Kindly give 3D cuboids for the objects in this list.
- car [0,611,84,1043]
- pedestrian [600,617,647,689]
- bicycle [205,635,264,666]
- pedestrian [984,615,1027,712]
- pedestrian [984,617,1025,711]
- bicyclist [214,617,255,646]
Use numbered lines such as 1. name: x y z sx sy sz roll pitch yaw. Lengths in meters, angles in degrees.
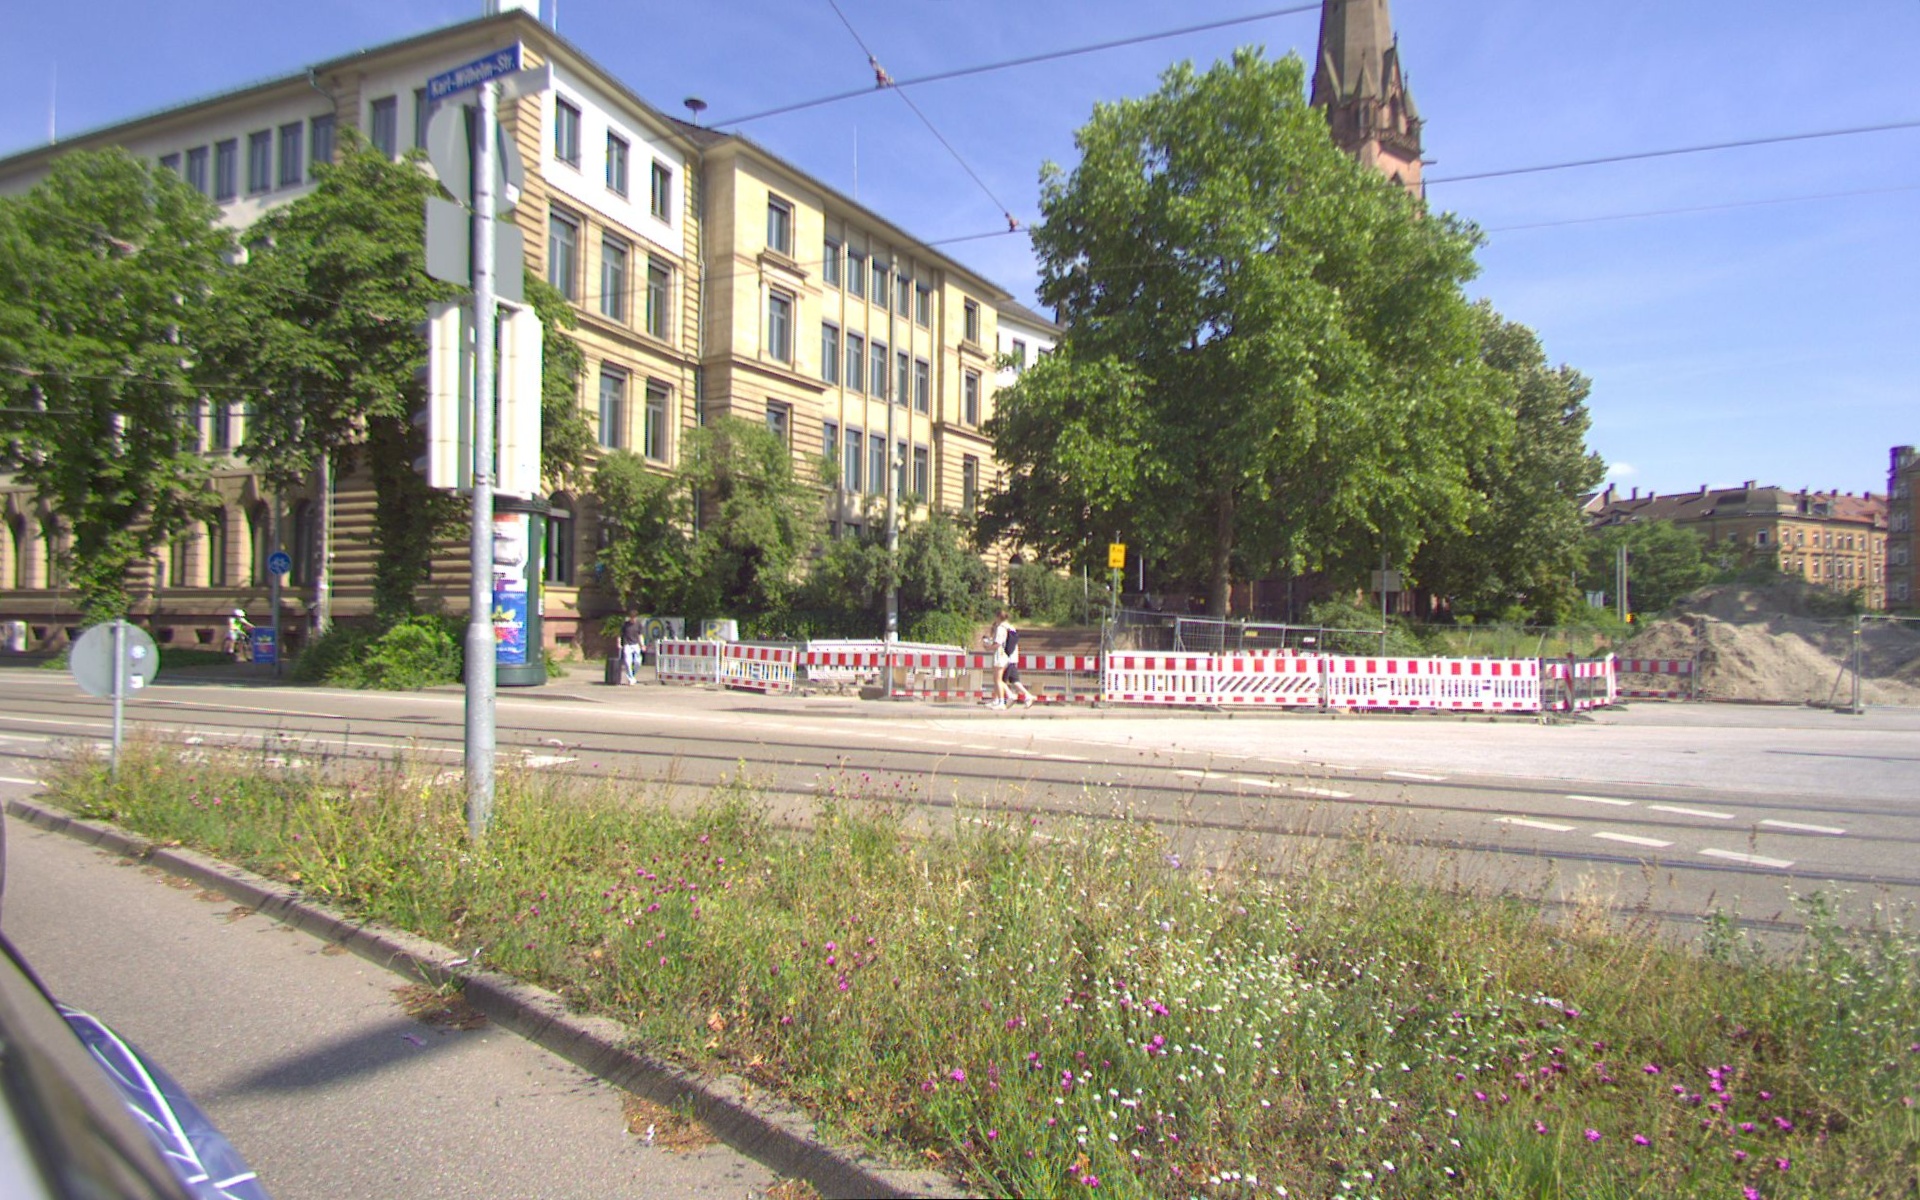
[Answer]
1. car: -5.780 0.797 4.365 4.815 1.530 1.843 0 -2 35
2. pedestrian: -8.008 1.250 24.061 0.924 1.668 0.847 1 -2 -25
3. bicycle: -23.306 1.619 32.513 1.651 0.954 0.697 0 -2 17
4. pedestrian: 0.838 1.159 18.768 0.734 1.763 0.585 0 -2 -1
5. pedestrian: 0.852 1.220 19.464 0.734 1.763 0.585 0 -2 -1
6. bicyclist: -23.329 1.019 32.542 0.862 0.934 0.679 0 -2 18
